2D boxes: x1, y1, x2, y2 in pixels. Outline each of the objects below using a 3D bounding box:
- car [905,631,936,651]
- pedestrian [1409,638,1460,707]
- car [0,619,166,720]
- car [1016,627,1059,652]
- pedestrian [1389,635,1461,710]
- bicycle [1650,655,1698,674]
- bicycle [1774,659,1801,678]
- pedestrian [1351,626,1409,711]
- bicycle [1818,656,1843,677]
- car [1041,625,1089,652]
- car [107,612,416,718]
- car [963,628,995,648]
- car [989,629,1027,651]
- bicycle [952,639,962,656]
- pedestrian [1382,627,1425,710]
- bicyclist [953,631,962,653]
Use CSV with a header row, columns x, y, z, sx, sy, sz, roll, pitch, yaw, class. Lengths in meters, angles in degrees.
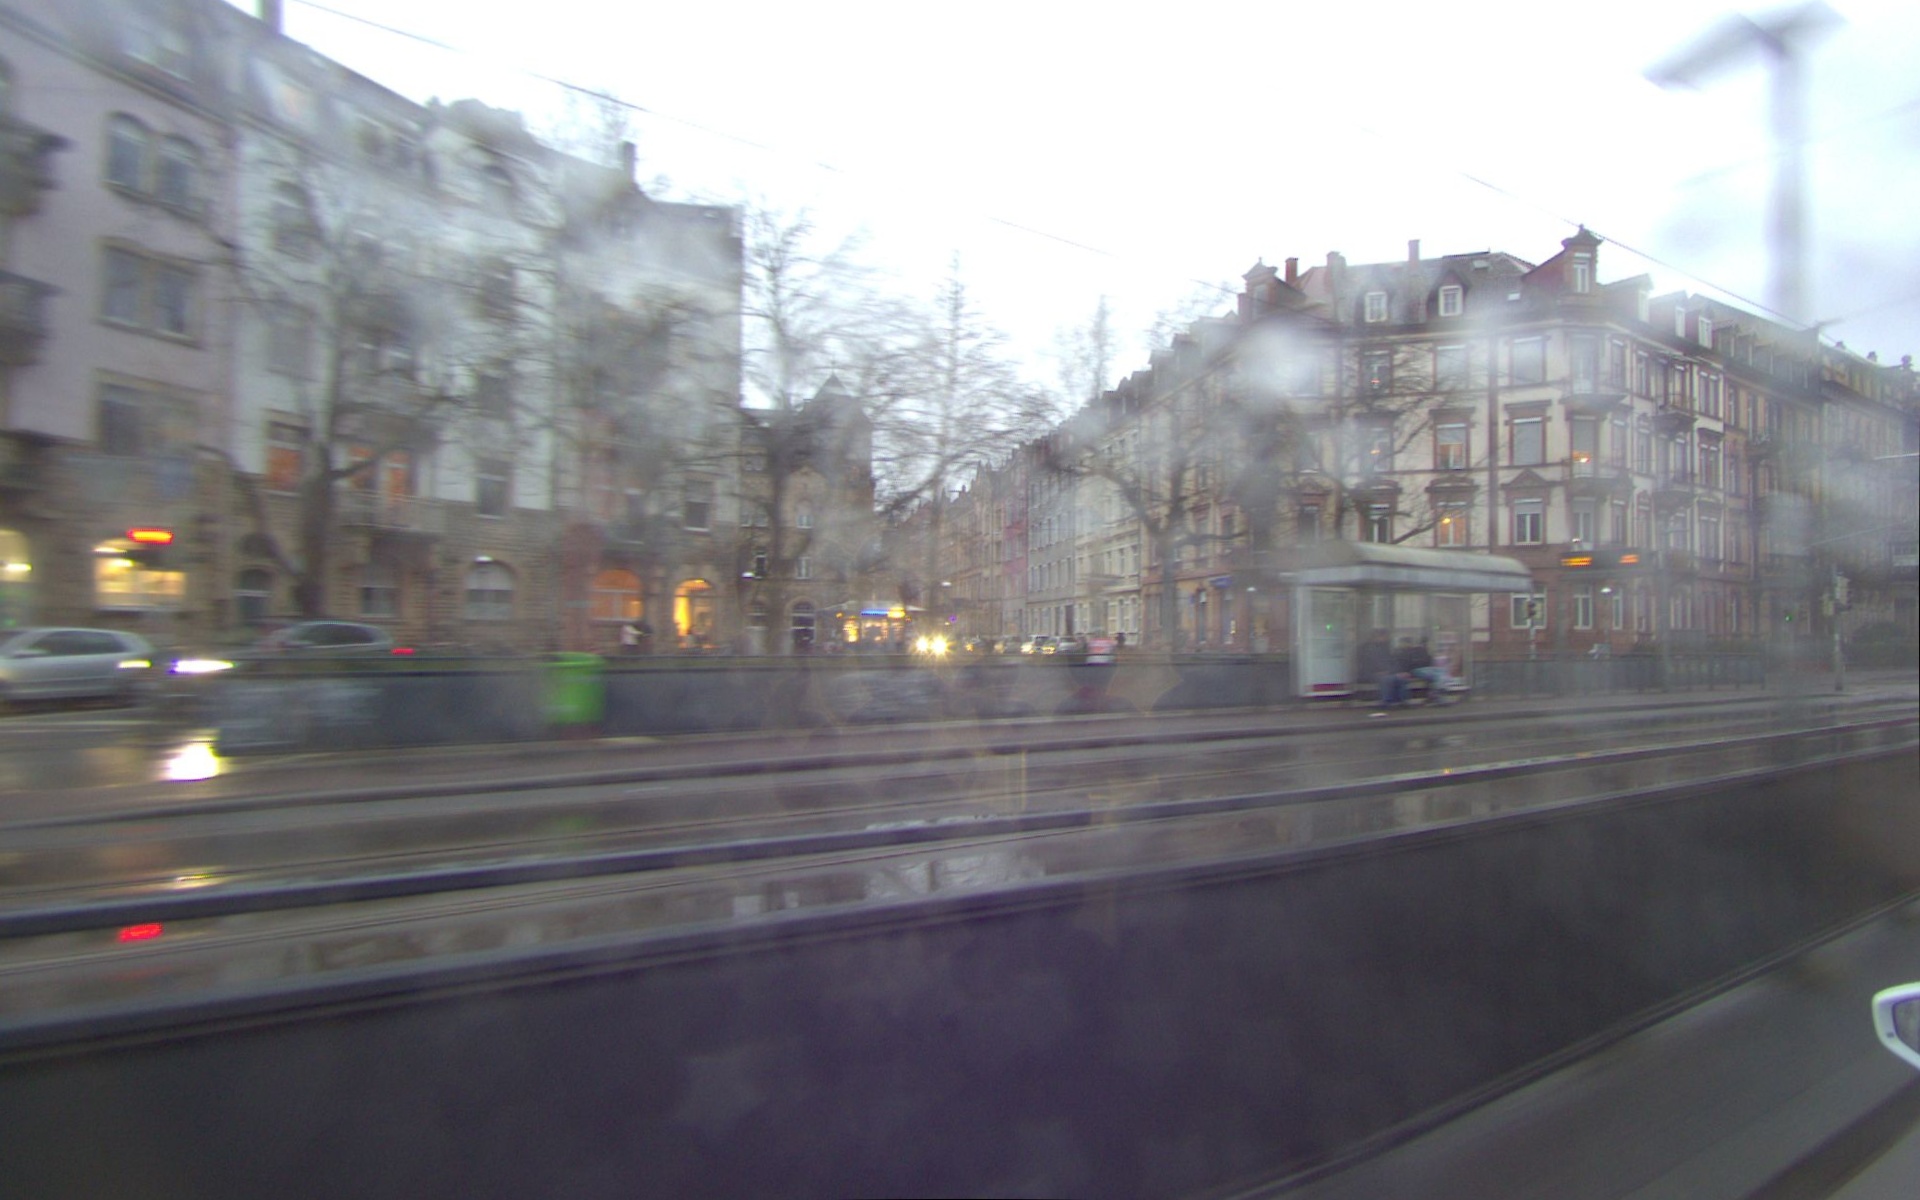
x,y,z,sx,sy,sz,roll,pitch,yaw,class
-3.485,3.632,88.675,1.966,1.728,3.989,1,-2,-14,car
8.907,1.350,18.862,0.512,1.234,0.648,2,1,-34,pedestrian
-16.055,1.147,17.118,1.581,1.492,3.828,3,1,11,car
5.529,2.823,72.118,1.966,1.728,3.989,1,-2,-14,car
8.539,1.315,18.454,0.501,1.271,1.049,2,1,-33,pedestrian
31.621,2.856,44.505,1.775,0.769,0.401,0,-2,2,bicycle
37.791,3.116,45.852,1.829,0.873,0.397,2,-2,-33,bicycle
7.309,1.178,17.491,0.572,1.422,0.680,2,1,-34,pedestrian
41.883,3.185,48.323,1.829,1.020,0.414,2,-2,-33,bicycle
6.909,2.567,66.620,1.966,1.728,3.990,1,-2,-14,car
-12.490,1.079,18.353,1.898,1.604,4.345,2,0,18,car
1.679,3.461,90.530,1.966,1.728,3.989,1,-2,-14,car
3.831,3.238,81.187,1.966,1.728,3.989,1,-2,-14,car
-0.176,3.042,64.426,0.483,1.020,1.810,1,-2,-5,bicycle
7.805,1.199,17.692,0.449,1.422,0.470,2,1,-34,pedestrian
-0.152,2.671,64.435,0.521,1.382,0.765,1,-2,-6,bicyclist
